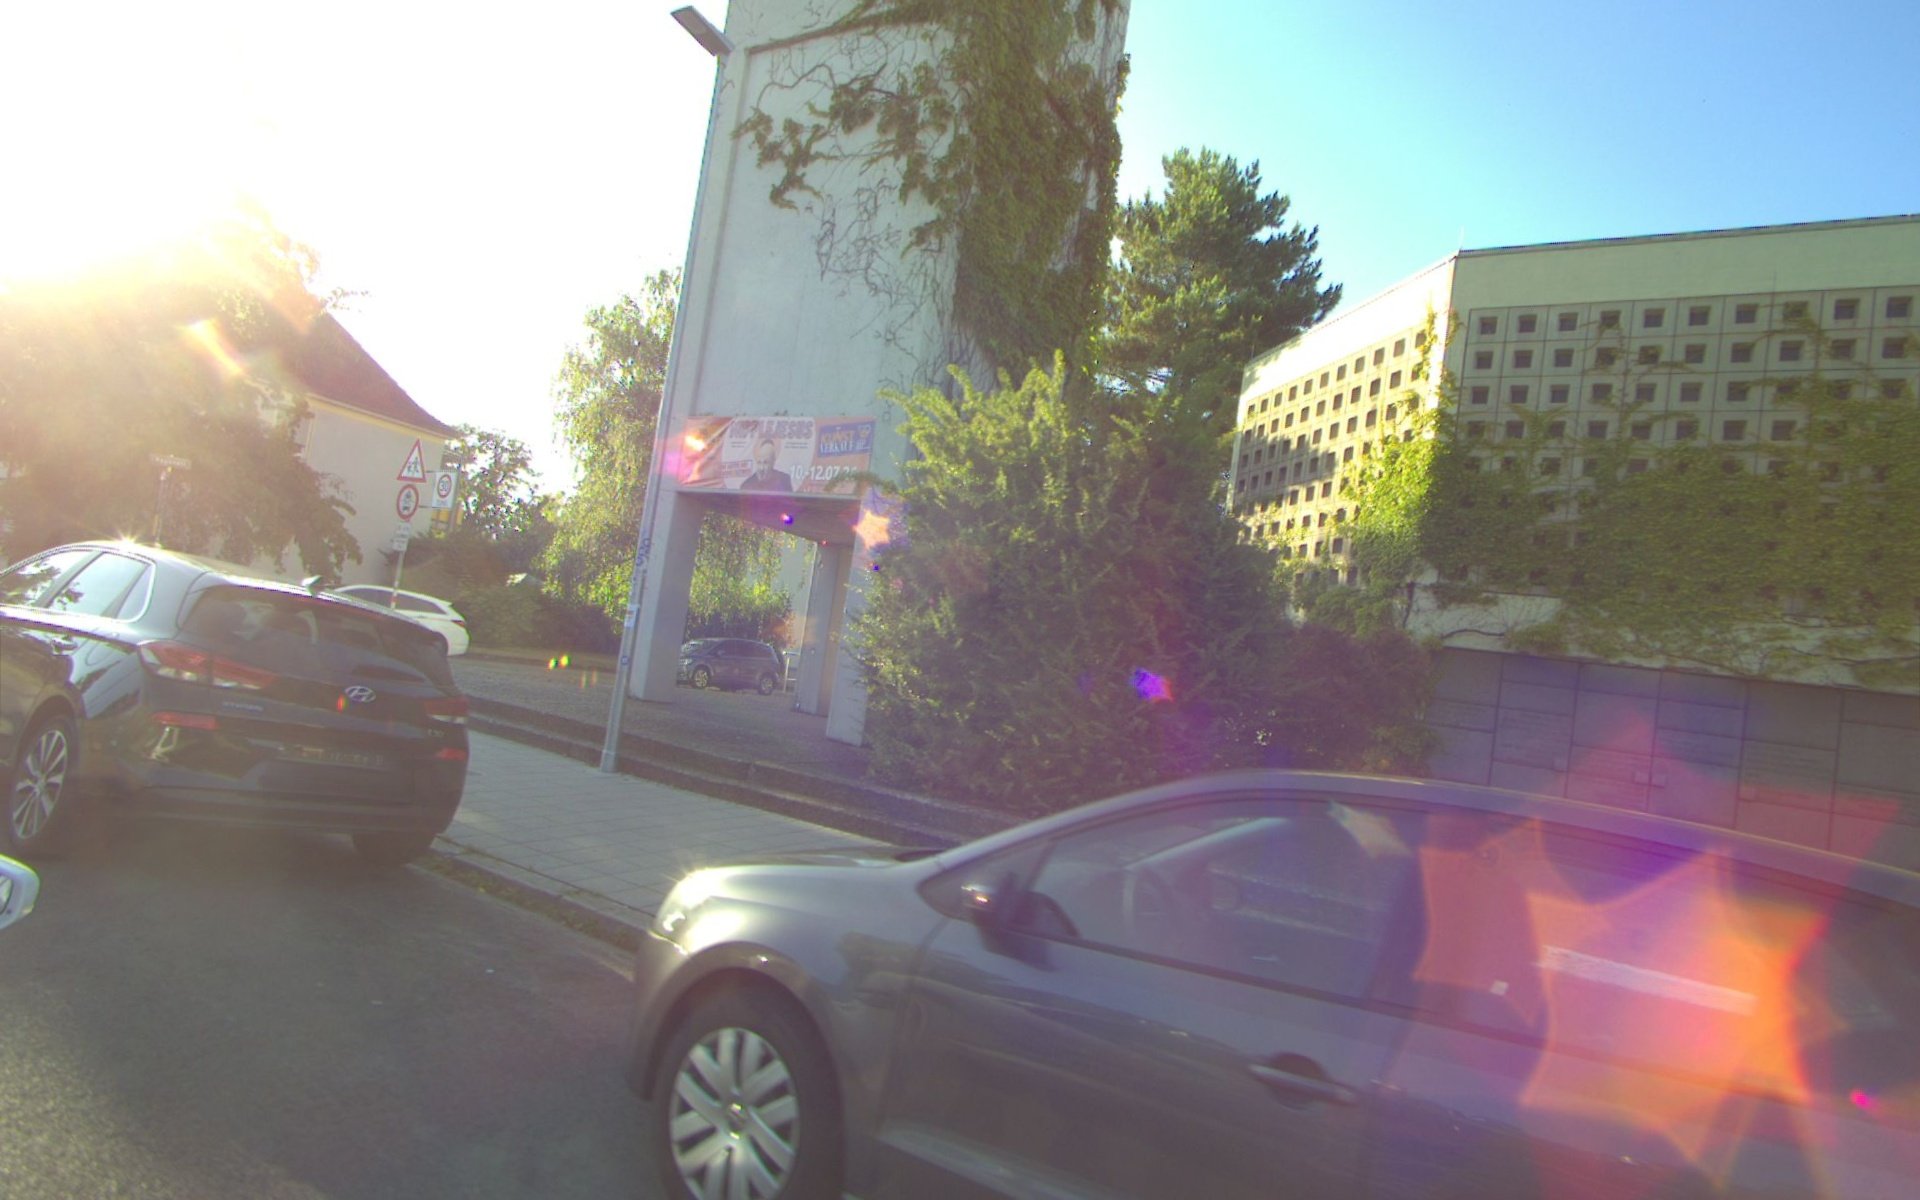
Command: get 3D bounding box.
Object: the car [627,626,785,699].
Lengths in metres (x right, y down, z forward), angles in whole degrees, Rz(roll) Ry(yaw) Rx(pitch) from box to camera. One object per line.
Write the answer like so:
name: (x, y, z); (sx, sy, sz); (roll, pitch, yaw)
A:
car: (-7.366, 1.864, 29.584); (1.968, 1.525, 4.127); (6, -5, 34)

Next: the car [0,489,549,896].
car: (-4.808, 0.395, 5.990); (4.546, 1.573, 1.833); (6, -10, 33)

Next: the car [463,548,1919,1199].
car: (0.836, 0.977, 2.616); (4.106, 1.541, 1.696); (7, -7, 32)

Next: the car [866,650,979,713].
car: (-1.389, 3.267, 39.605); (2.136, 1.992, 5.022); (3, -6, 27)

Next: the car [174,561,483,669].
car: (-12.574, 0.384, 20.431); (1.970, 1.500, 4.863); (2, -7, 31)
